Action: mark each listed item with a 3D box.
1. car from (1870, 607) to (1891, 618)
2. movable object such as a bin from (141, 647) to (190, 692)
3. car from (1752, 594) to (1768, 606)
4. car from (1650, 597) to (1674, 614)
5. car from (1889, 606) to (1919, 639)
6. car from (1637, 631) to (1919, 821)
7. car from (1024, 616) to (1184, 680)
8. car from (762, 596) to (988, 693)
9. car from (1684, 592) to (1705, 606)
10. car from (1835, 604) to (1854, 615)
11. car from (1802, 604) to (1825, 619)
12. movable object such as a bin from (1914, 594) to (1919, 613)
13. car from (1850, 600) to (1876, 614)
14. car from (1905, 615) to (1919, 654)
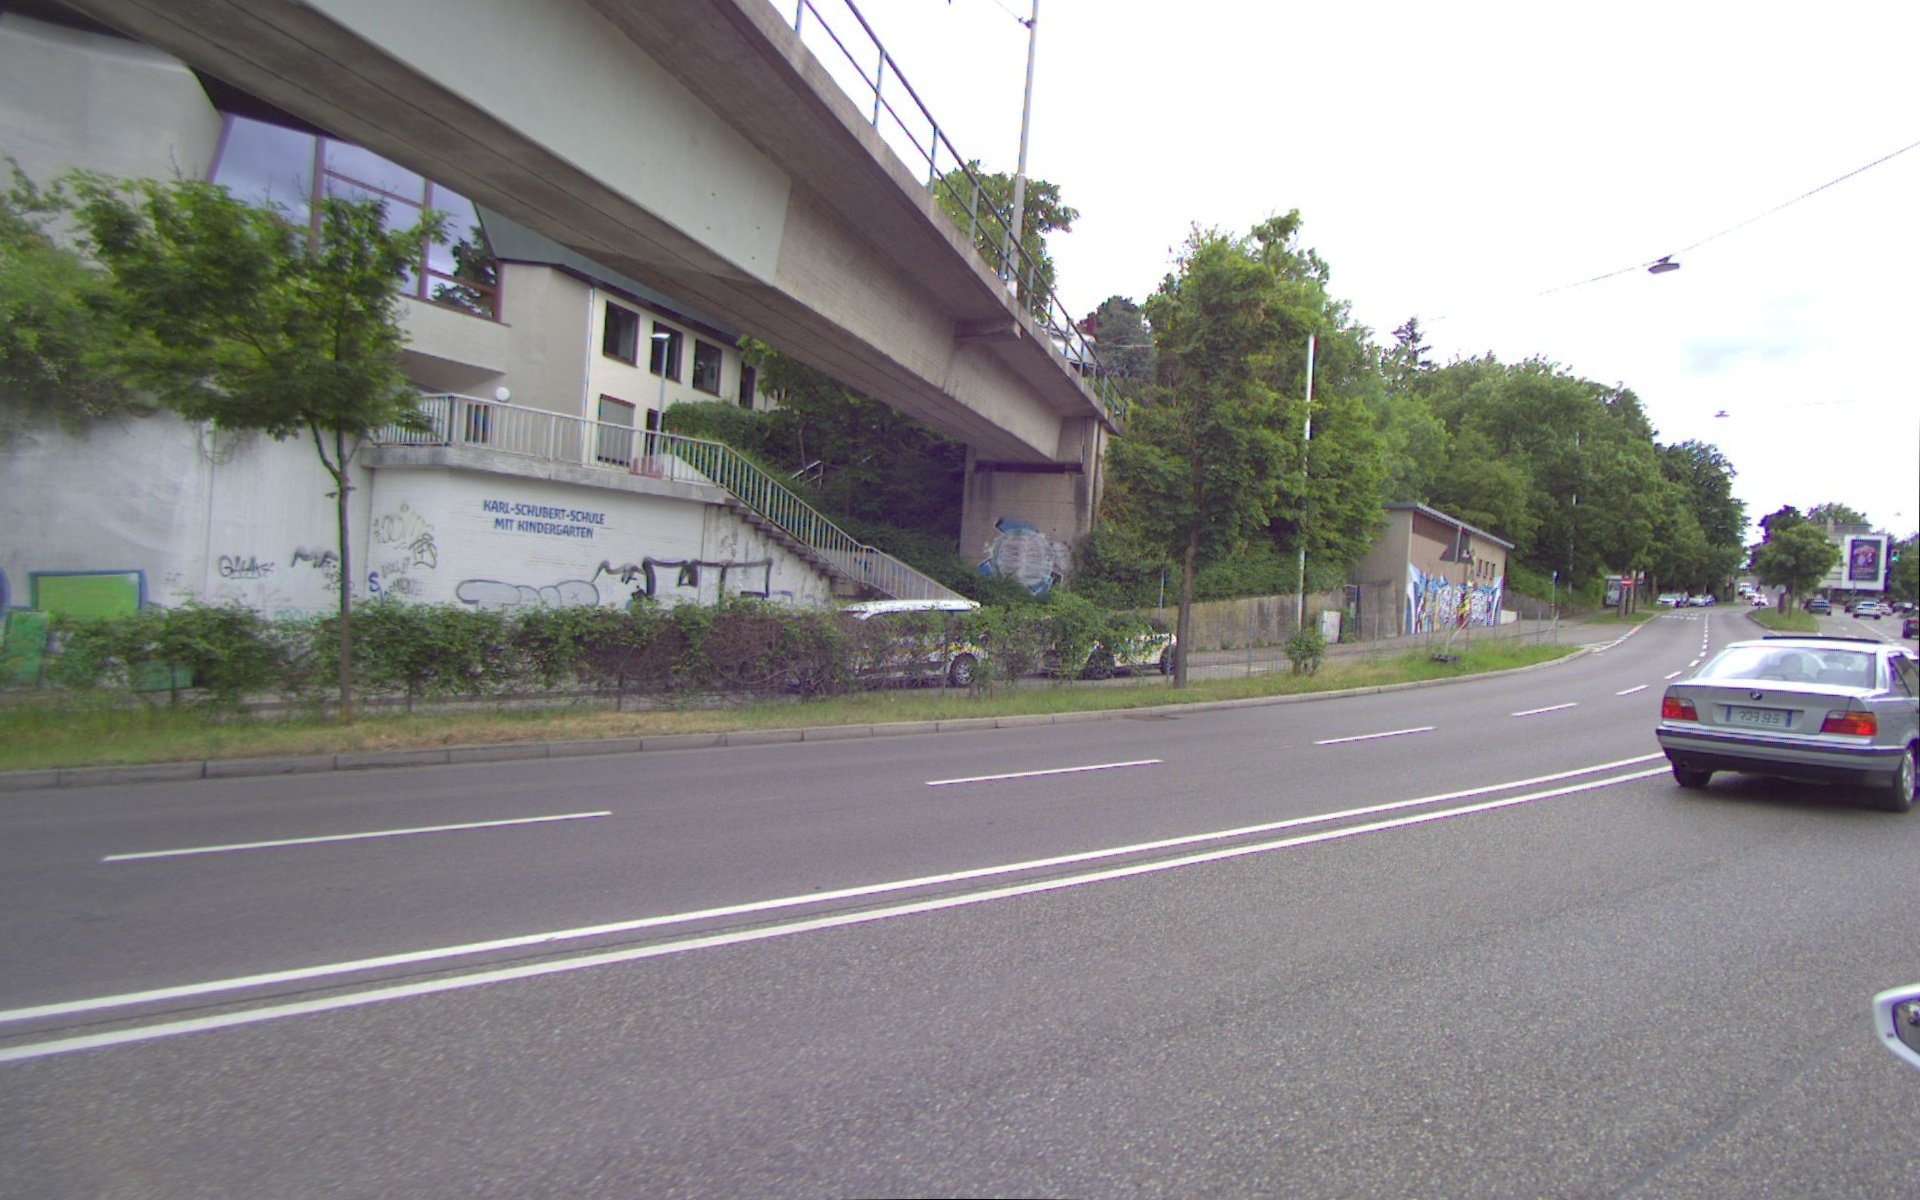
[{"bbox_3d":[116.579,1.574,127.253,1.702,1.394,3.440,1,0,39],"label":"car"},{"bbox_3d":[-13.377,1.167,16.911,0.551,0.649,0.578,6,5,44],"label":"movable object such as a bin"},{"bbox_3d":[122.530,-0.046,153.841,1.837,1.693,4.260,6,4,39],"label":"car"},{"bbox_3d":[76.179,0.570,109.016,1.837,1.693,4.261,6,4,38],"label":"car"},{"bbox_3d":[49.996,1.159,52.570,1.701,1.662,3.443,1,0,38],"label":"car"},{"bbox_3d":[8.285,1.022,9.530,4.575,1.401,1.623,2,-2,-36],"label":"car"},{"bbox_3d":[3.582,1.134,24.770,3.767,1.438,1.754,1,-1,-36],"label":"car"},{"bbox_3d":[-1.693,0.889,20.776,4.422,1.808,1.754,1,-2,-36],"label":"car"},{"bbox_3d":[91.504,-0.112,125.117,1.837,1.615,4.261,6,4,38],"label":"car"},{"bbox_3d":[118.266,1.275,134.312,1.702,1.394,3.440,1,0,39],"label":"car"},{"bbox_3d":[91.137,1.243,107.239,1.701,1.604,3.442,1,0,38],"label":"car"},{"bbox_3d":[101.690,0.422,105.400,1.865,1.895,1.524,5,4,32],"label":"movable object such as a bin"},{"bbox_3d":[90.020,0.707,100.148,1.702,1.394,3.440,1,0,39],"label":"car"},{"bbox_3d":[36.352,1.264,37.134,1.701,1.394,3.443,1,0,38],"label":"car"}]
